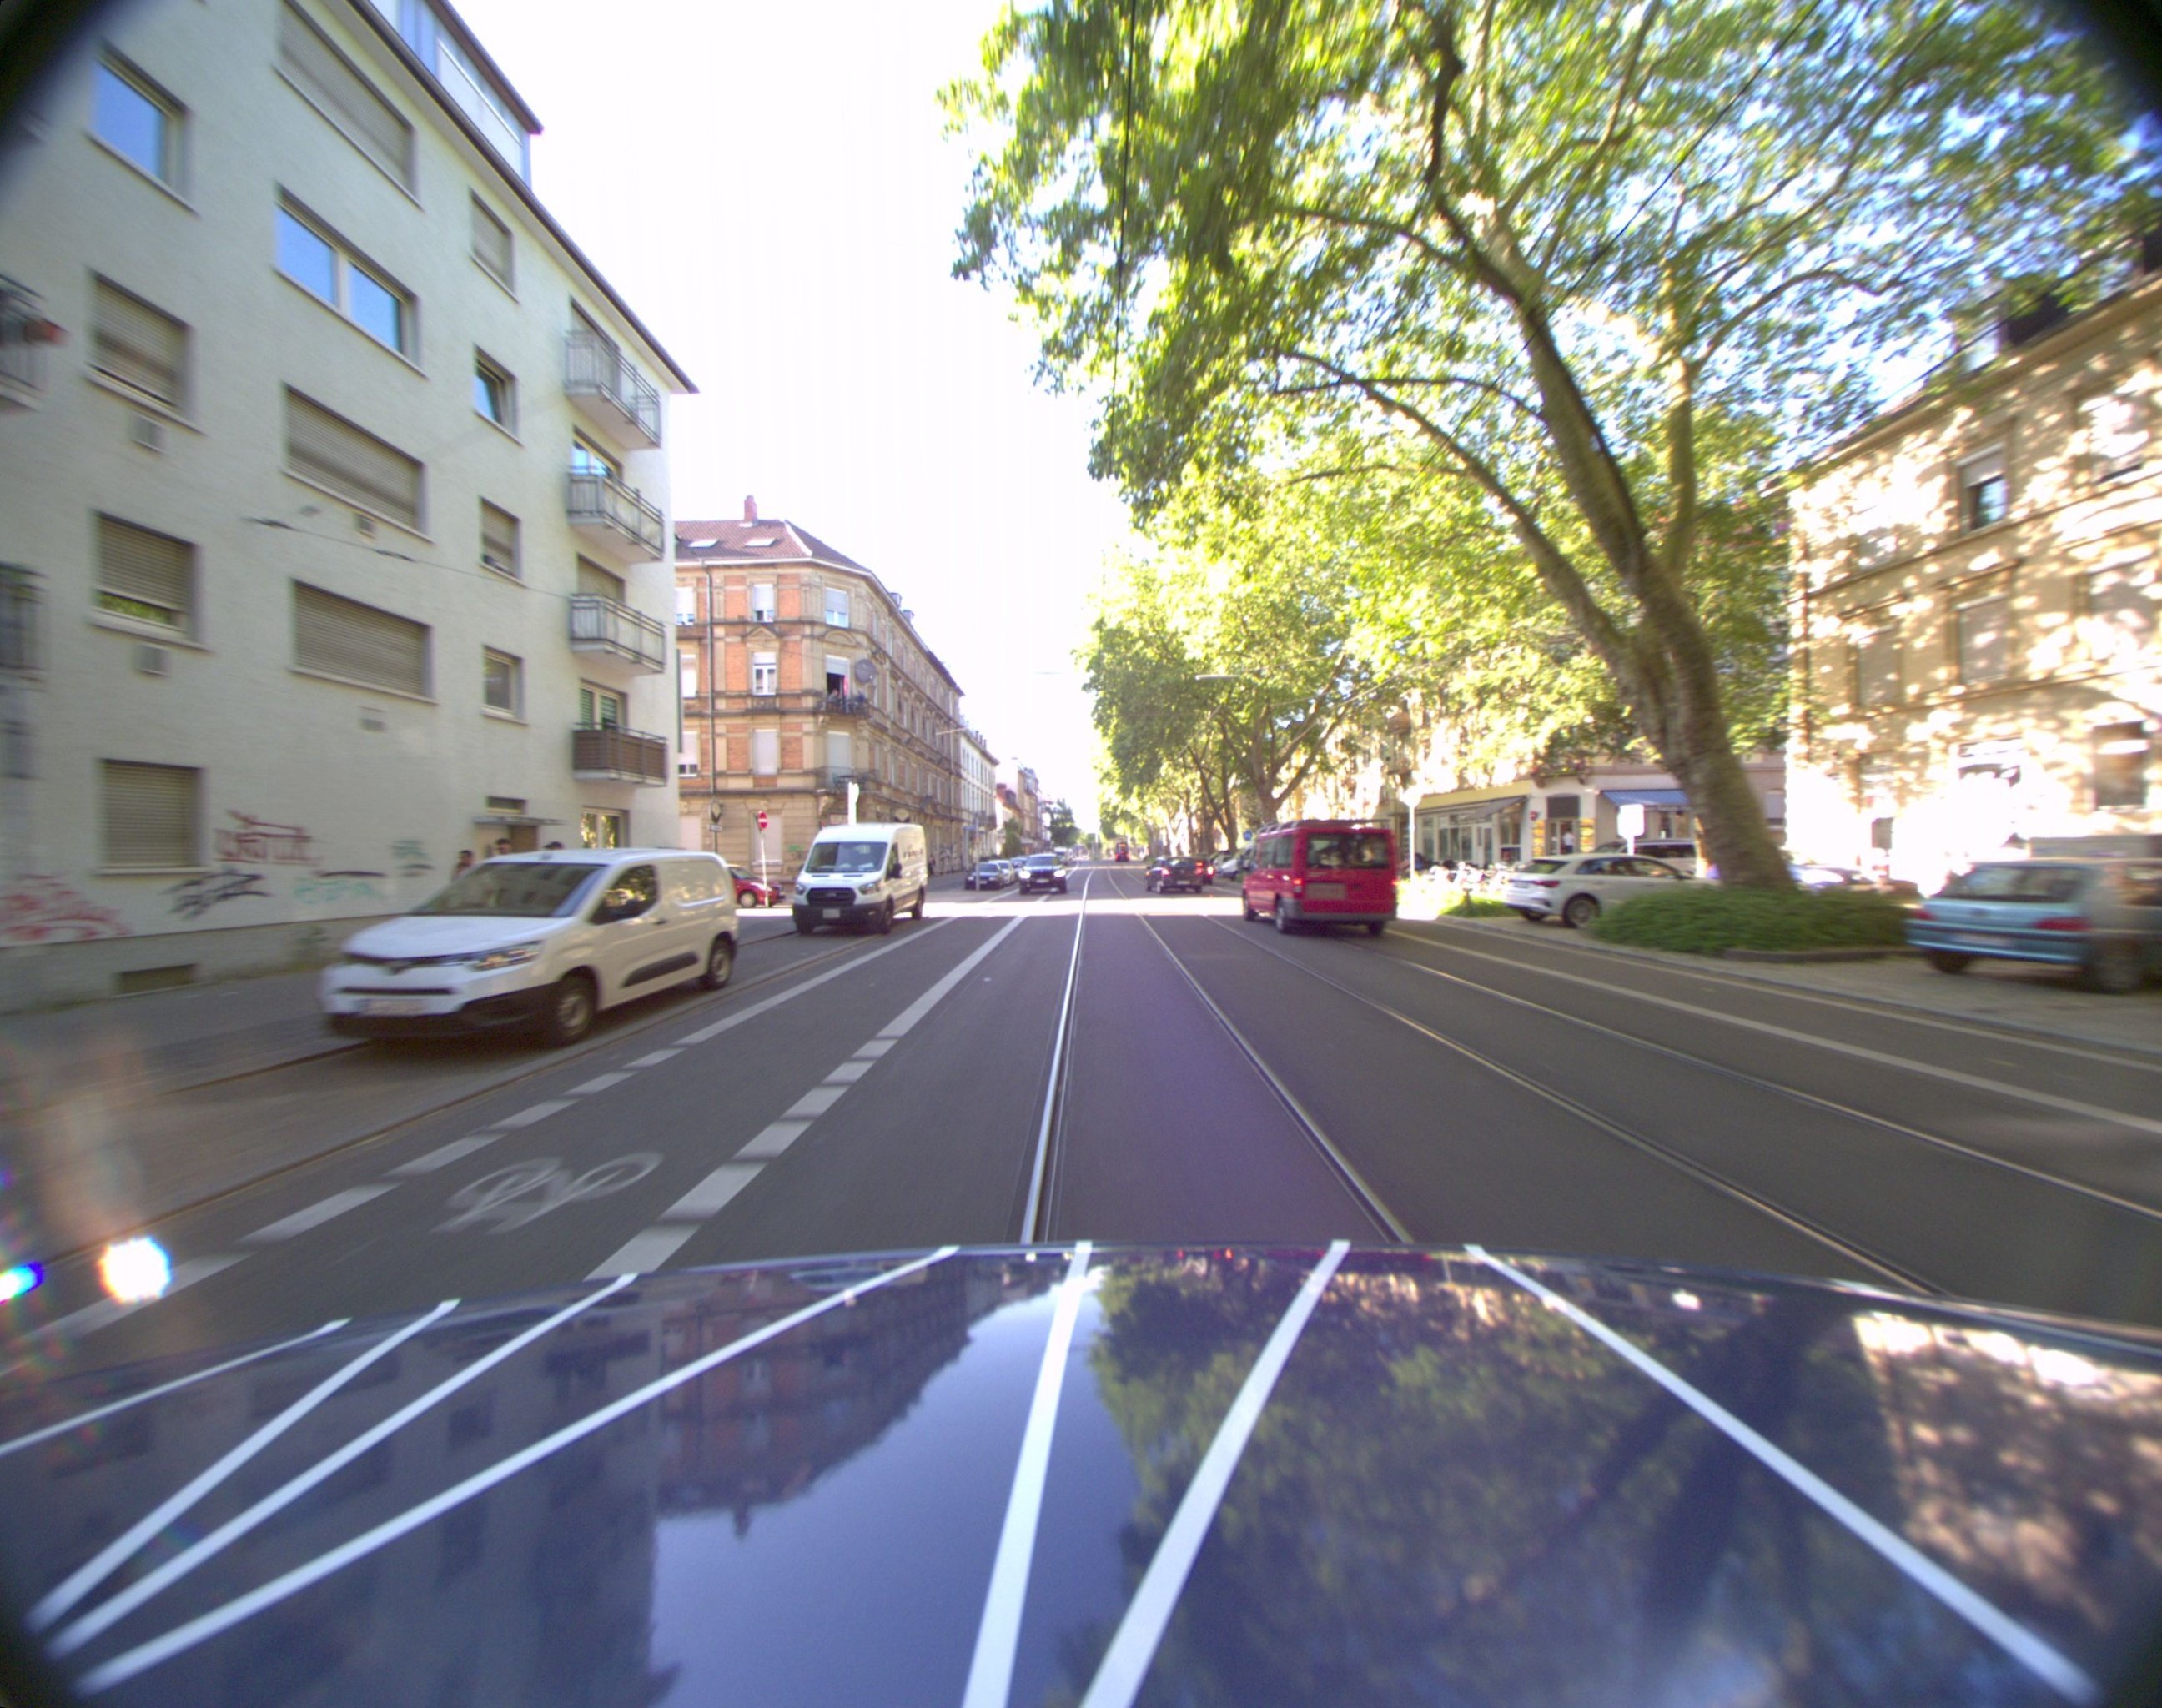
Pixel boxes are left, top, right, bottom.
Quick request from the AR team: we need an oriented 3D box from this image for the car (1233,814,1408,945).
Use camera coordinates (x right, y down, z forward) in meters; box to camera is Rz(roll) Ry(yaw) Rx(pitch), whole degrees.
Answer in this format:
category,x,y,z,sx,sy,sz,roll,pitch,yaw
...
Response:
category,x,y,z,sx,sy,sz,roll,pitch,yaw
car,4.630,0.434,15.619,1.922,2.214,4.959,1,0,-1

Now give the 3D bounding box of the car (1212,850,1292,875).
category,x,y,z,sx,sy,sz,roll,pitch,yaw
car,11.619,0.593,51.808,4.943,1.437,2.000,-3,0,1

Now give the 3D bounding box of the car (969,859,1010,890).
category,x,y,z,sx,sy,sz,roll,pitch,yaw
car,-4.724,1.043,39.682,1.653,1.412,4.059,1,1,-1

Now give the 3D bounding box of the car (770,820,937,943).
category,x,y,z,sx,sy,sz,roll,pitch,yaw
car,-5.233,0.531,18.623,2.154,2.481,6.087,-1,1,1

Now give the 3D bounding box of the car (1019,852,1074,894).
category,x,y,z,sx,sy,sz,roll,pitch,yaw
car,-1.438,0.812,33.670,1.948,1.694,4.631,-2,-1,3

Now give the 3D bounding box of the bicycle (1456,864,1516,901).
category,x,y,z,sx,sy,sz,roll,pitch,yaw
bicycle,12.202,0.858,22.915,1.560,1.082,0.397,-1,1,19

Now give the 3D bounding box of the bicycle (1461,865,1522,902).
category,x,y,z,sx,sy,sz,roll,pitch,yaw
bicycle,12.129,0.867,22.485,1.560,1.082,0.397,-1,1,19

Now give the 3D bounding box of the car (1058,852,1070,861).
category,x,y,z,sx,sy,sz,roll,pitch,yaw
car,-2.801,0.420,126.010,1.702,1.324,3.686,0,1,2

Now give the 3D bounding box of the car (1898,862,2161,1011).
category,x,y,z,sx,sy,sz,roll,pitch,yaw
car,11.694,0.809,8.325,3.998,1.361,1.604,-1,1,-4

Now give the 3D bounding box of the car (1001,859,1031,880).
category,x,y,z,sx,sy,sz,roll,pitch,yaw
car,-4.392,1.008,51.675,1.653,1.265,3.724,1,1,1

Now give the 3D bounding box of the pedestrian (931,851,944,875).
category,x,y,z,sx,sy,sz,roll,pitch,yaw
pedestrian,-9.797,0.609,51.841,0.716,1.647,0.766,-1,1,0

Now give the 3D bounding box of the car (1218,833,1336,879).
category,x,y,z,sx,sy,sz,roll,pitch,yaw
car,11.846,0.127,46.311,6.618,2.393,2.000,-3,0,1

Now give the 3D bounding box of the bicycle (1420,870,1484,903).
category,x,y,z,sx,sy,sz,roll,pitch,yaw
bicycle,12.203,1.065,25.020,1.858,1.082,0.397,-1,1,19

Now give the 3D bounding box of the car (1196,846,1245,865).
category,x,y,z,sx,sy,sz,roll,pitch,yaw
car,13.384,0.182,73.068,4.365,1.603,2.000,-3,0,1

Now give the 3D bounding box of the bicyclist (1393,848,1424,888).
category,x,y,z,sx,sy,sz,roll,pitch,yaw
bicyclist,12.892,0.545,29.945,0.868,1.517,0.736,-1,1,-2

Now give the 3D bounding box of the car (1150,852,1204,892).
category,x,y,z,sx,sy,sz,roll,pitch,yaw
car,3.832,0.687,30.816,1.722,1.501,3.722,-1,0,0

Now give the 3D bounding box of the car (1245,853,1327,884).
category,x,y,z,sx,sy,sz,roll,pitch,yaw
car,10.689,0.738,39.776,3.779,1.509,1.747,-1,1,-2

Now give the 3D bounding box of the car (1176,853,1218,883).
category,x,y,z,sx,sy,sz,roll,pitch,yaw
car,6.082,0.713,40.212,1.639,1.501,3.691,-1,0,0

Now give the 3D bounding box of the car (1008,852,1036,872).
category,x,y,z,sx,sy,sz,roll,pitch,yaw
car,-4.361,0.564,56.855,1.610,1.444,3.741,1,1,2

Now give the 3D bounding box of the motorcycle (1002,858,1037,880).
category,x,y,z,sx,sy,sz,roll,pitch,yaw
motorcycle,-3.948,0.958,48.737,2.143,1.281,0.642,-1,1,-21

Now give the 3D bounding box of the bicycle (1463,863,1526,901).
category,x,y,z,sx,sy,sz,roll,pitch,yaw
bicycle,11.990,0.816,22.057,1.560,1.082,0.397,-1,1,19

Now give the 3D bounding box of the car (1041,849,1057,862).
category,x,y,z,sx,sy,sz,roll,pitch,yaw
car,-4.016,0.196,96.902,1.702,1.559,3.686,0,1,2

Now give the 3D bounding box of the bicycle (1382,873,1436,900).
category,x,y,z,sx,sy,sz,roll,pitch,yaw
bicycle,12.938,1.267,30.011,1.875,1.025,0.628,-1,1,-2

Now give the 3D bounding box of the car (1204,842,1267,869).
category,x,y,z,sx,sy,sz,roll,pitch,yaw
car,12.379,0.133,61.126,4.639,1.896,1.922,-3,0,0

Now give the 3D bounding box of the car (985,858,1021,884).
category,x,y,z,sx,sy,sz,roll,pitch,yaw
car,-4.586,0.974,44.908,1.606,1.412,4.013,1,1,1

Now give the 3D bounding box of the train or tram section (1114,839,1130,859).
category,x,y,z,sx,sy,sz,roll,pitch,yaw
train or tram section,8.125,-1.051,151.730,2.944,3.598,11.258,-3,1,2

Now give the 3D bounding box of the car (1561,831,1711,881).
category,x,y,z,sx,sy,sz,roll,pitch,yaw
car,22.972,0.047,31.608,4.582,1.870,2.128,-1,3,4

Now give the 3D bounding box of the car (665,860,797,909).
category,x,y,z,sx,sy,sz,roll,pitch,yaw
car,-11.927,1.020,26.077,3.659,1.565,1.790,-1,1,2

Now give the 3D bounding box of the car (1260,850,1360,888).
category,x,y,z,sx,sy,sz,roll,pitch,yaw
car,11.157,0.708,37.163,4.331,1.702,1.816,-1,1,-2

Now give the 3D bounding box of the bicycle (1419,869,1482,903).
category,x,y,z,sx,sy,sz,roll,pitch,yaw
bicycle,12.331,1.070,25.422,1.858,1.082,0.397,-1,1,19

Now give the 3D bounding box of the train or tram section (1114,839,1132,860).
category,x,y,z,sx,sy,sz,roll,pitch,yaw
train or tram section,7.691,-0.891,140.570,2.944,3.598,11.062,-3,1,2

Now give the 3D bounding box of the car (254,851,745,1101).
category,x,y,z,sx,sy,sz,roll,pitch,yaw
car,-5.507,0.949,8.104,1.863,1.810,4.350,2,1,0

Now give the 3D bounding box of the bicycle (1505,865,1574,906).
category,x,y,z,sx,sy,sz,roll,pitch,yaw
bicycle,12.418,0.856,20.614,1.560,1.082,0.397,-1,1,19

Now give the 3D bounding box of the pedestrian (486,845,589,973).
category,x,y,z,sx,sy,sz,roll,pitch,yaw
pedestrian,-8.067,0.778,11.327,0.711,1.812,1.082,0,1,3

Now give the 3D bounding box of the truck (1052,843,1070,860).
category,x,y,z,sx,sy,sz,roll,pitch,yaw
truck,-3.677,-0.511,142.156,2.842,3.145,7.291,-3,1,1

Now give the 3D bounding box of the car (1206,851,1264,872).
category,x,y,z,sx,sy,sz,roll,pitch,yaw
car,11.894,0.576,58.703,4.068,1.437,1.869,-3,0,1

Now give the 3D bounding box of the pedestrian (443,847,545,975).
category,x,y,z,sx,sy,sz,roll,pitch,yaw
pedestrian,-8.737,0.806,11.360,0.626,1.812,1.082,0,1,3

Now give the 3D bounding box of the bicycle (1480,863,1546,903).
category,x,y,z,sx,sy,sz,roll,pitch,yaw
bicycle,12.197,0.811,21.474,1.560,1.082,0.397,-1,1,19

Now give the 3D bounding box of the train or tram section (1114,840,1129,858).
category,x,y,z,sx,sy,sz,roll,pitch,yaw
train or tram section,8.594,-1.236,163.562,2.944,3.598,12.410,-3,1,2

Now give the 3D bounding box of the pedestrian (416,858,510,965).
category,x,y,z,sx,sy,sz,roll,pitch,yaw
pedestrian,-9.827,0.881,12.121,0.633,1.571,0.933,5,2,3

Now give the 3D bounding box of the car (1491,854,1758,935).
category,x,y,z,sx,sy,sz,roll,pitch,yaw
car,10.706,0.758,15.205,3.997,1.452,1.879,-1,0,0

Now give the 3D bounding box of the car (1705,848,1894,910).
category,x,y,z,sx,sy,sz,roll,pitch,yaw
car,18.579,0.595,19.876,1.603,1.452,3.488,-1,0,-2

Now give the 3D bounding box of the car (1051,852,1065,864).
category,x,y,z,sx,sy,sz,roll,pitch,yaw
car,-3.212,0.549,108.271,1.702,1.559,3.686,0,1,2

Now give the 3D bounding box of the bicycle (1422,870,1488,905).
category,x,y,z,sx,sy,sz,roll,pitch,yaw
bicycle,11.942,1.066,24.312,1.858,1.082,0.397,-1,1,19
